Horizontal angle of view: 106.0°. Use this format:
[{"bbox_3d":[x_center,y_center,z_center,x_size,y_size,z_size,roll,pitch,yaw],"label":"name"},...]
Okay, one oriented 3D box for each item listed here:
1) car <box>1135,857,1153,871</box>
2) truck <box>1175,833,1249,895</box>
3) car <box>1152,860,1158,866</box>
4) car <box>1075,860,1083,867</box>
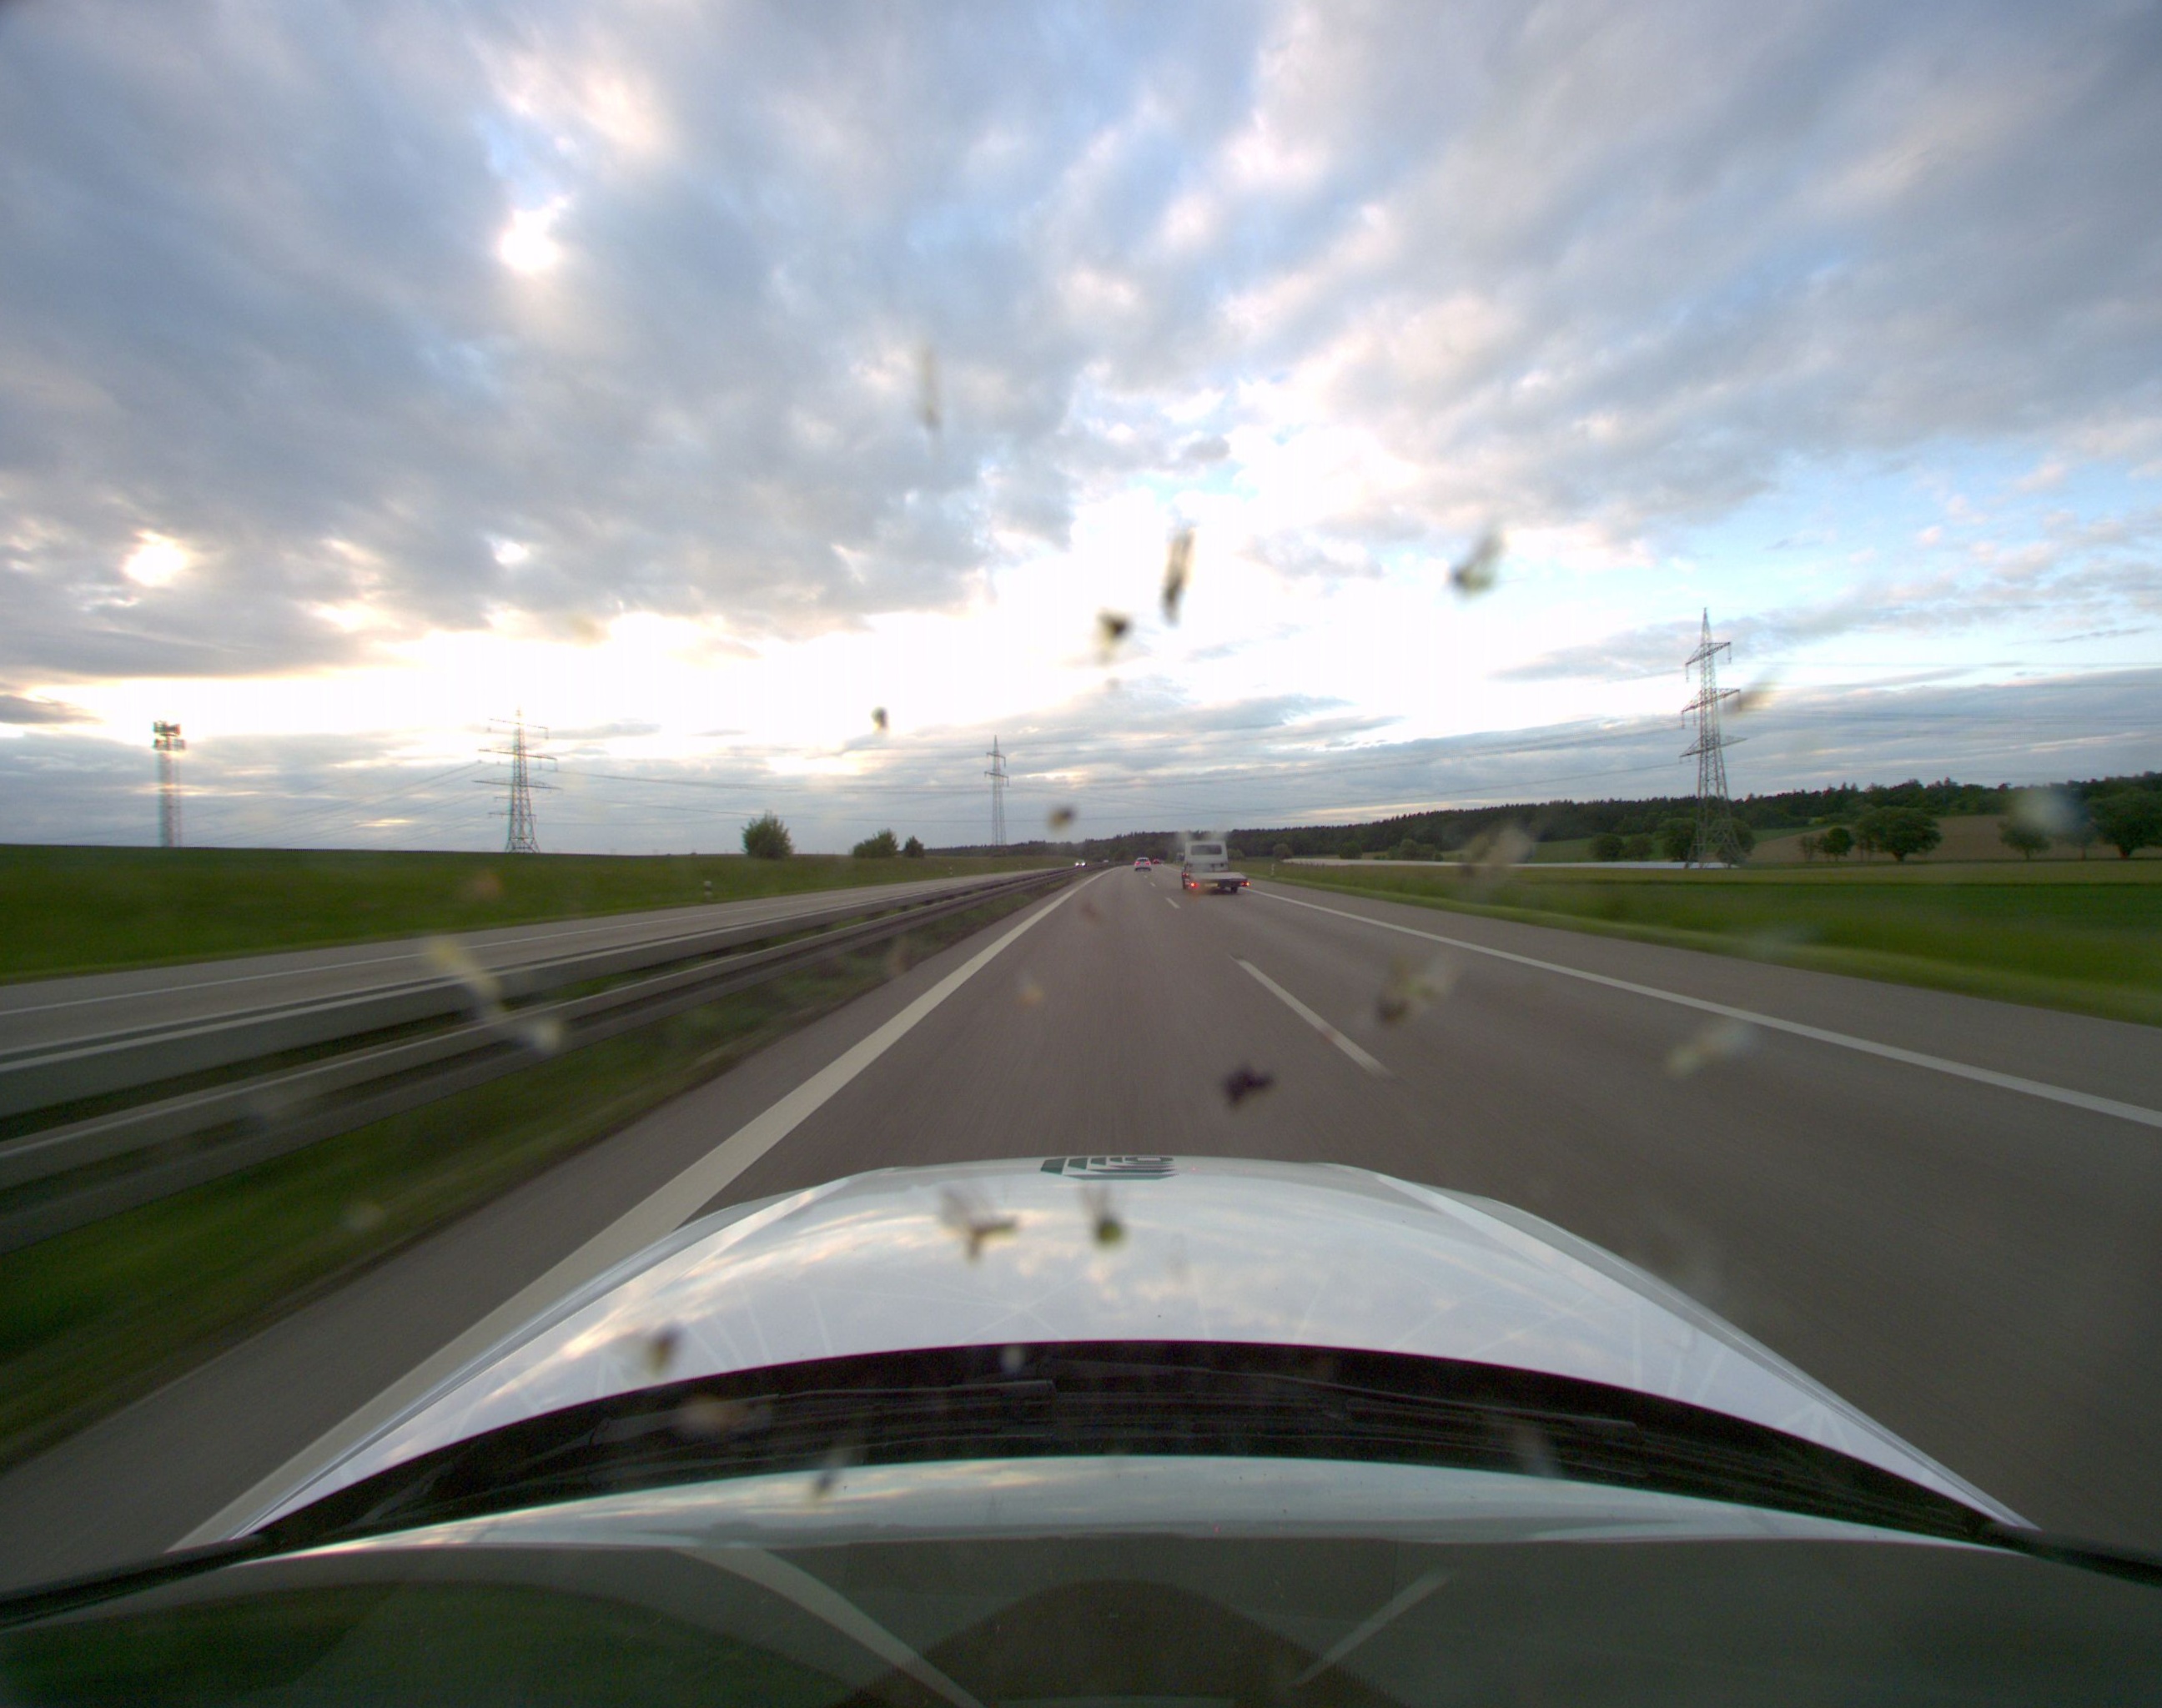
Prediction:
[{"bbox_3d":[7.126,1.118,91.895,1.942,1.531,4.085,0,-1,5],"label":"car"},{"bbox_3d":[5.447,0.416,34.952,2.163,2.360,7.699,0,0,2],"label":"truck"},{"bbox_3d":[22.806,2.812,250.691,1.942,1.731,4.085,0,-1,4],"label":"car"},{"bbox_3d":[-0.396,2.149,183.931,1.691,1.664,4.465,0,-1,2],"label":"car"}]
